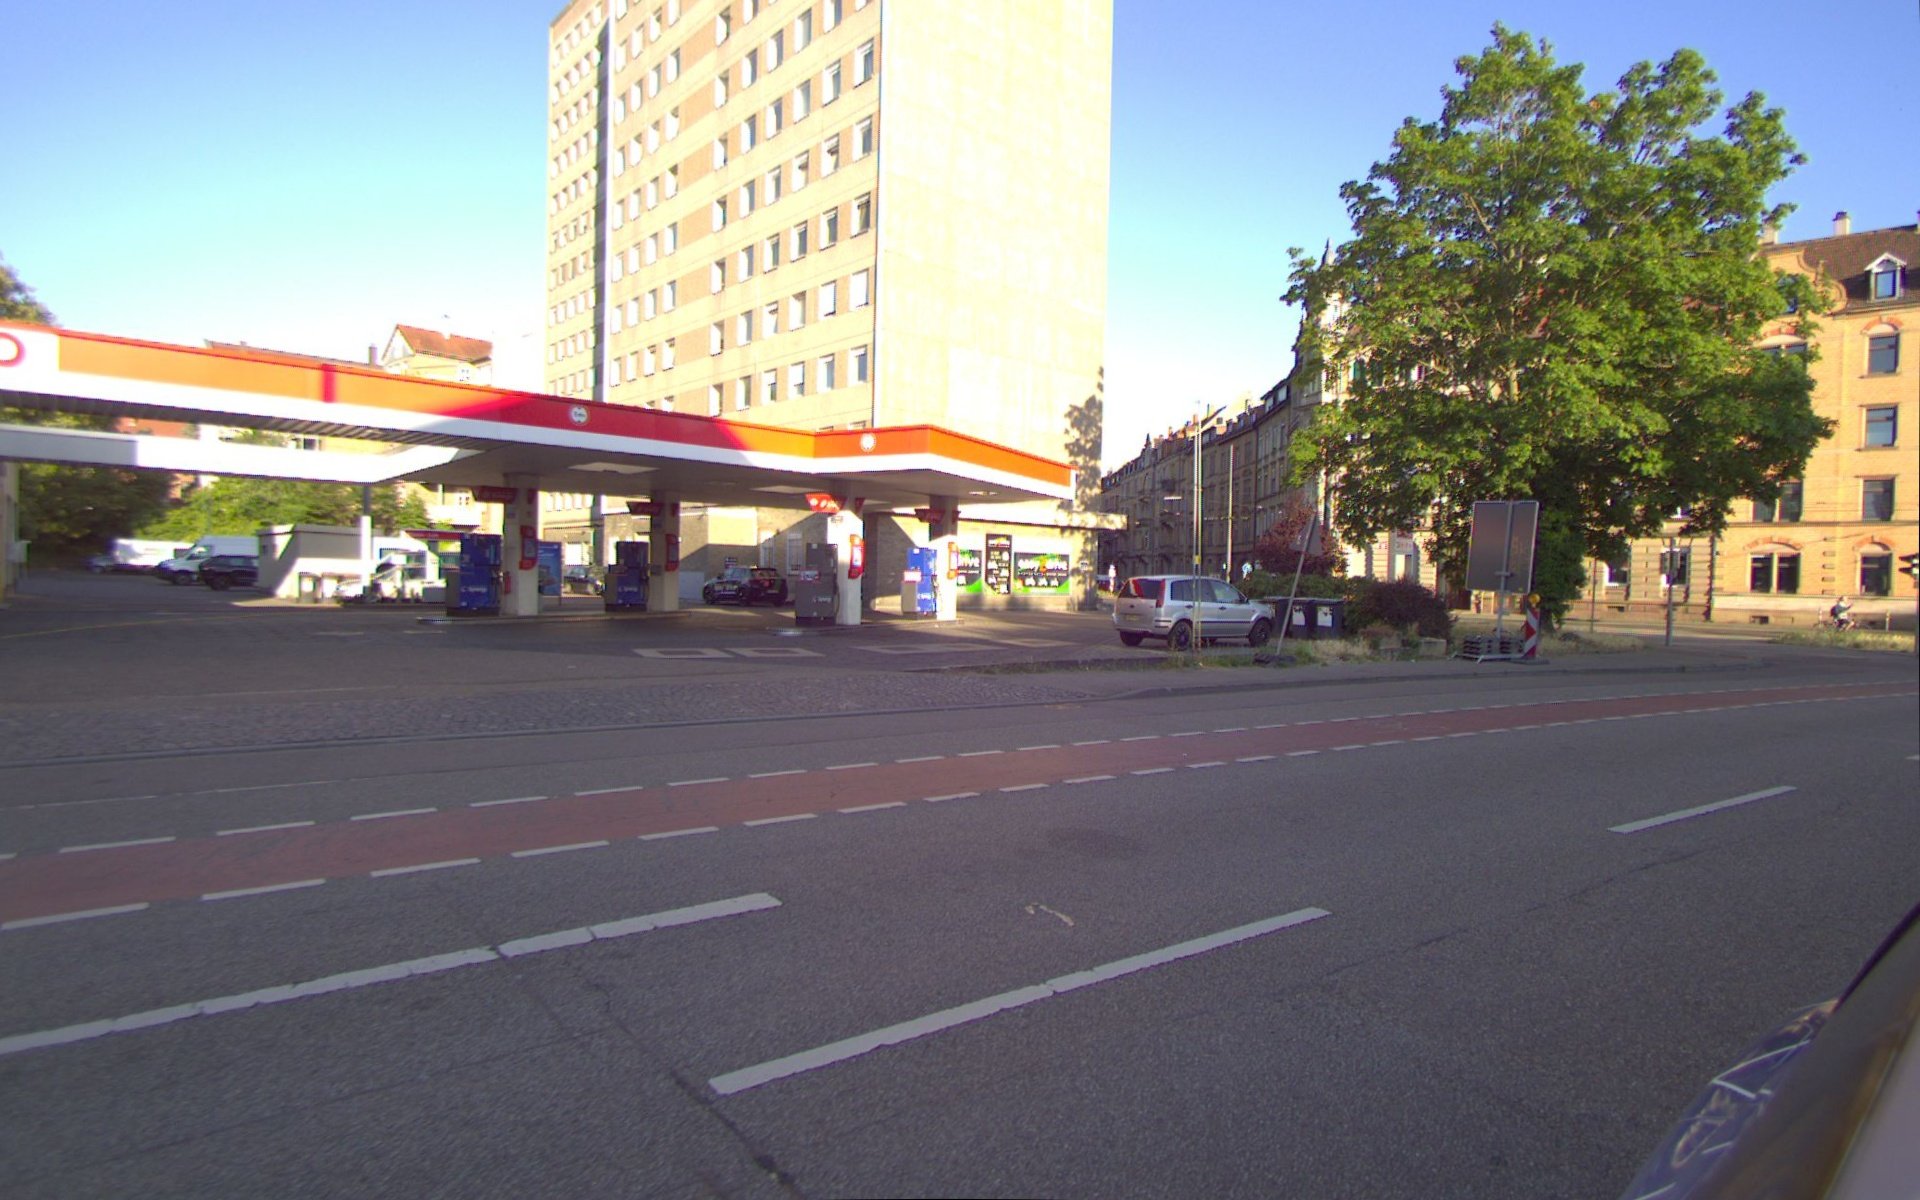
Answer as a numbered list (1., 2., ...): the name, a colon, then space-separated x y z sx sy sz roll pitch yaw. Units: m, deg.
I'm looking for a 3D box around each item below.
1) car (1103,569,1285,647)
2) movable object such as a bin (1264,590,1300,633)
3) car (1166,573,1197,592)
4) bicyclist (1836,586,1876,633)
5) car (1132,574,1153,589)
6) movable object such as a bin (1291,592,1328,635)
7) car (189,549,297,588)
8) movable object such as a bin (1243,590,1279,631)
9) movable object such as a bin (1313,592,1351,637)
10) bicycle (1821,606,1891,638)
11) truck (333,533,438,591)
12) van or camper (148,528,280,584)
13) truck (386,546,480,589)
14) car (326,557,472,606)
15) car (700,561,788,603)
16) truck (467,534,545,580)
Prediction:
1. car: 5.078 0.121 21.841 3.722 1.535 1.691 0 2 -33
2. movable object such as a bin: 8.048 0.277 25.303 0.674 1.031 0.544 0 1 -35
3. car: 21.168 -1.715 96.793 1.962 1.707 4.001 1 1 0
4. bicyclist: 33.474 0.342 37.795 1.062 1.669 0.721 2 1 44
5. car: 19.939 -2.016 110.847 1.647 1.565 3.119 0 0 -1
6. movable object such as a bin: 8.525 0.324 24.679 0.674 1.031 0.544 0 1 -35
7. car: -32.446 -1.384 45.855 3.832 1.630 1.683 0 0 -43
8. movable object such as a bin: 7.701 0.260 25.882 0.674 1.031 0.544 0 1 -35
9. movable object such as a bin: 8.824 0.343 23.987 0.674 1.031 0.544 0 1 -35
10. bicycle: 33.428 0.804 37.776 1.921 1.072 0.444 3 2 44
11. truck: -26.899 -1.754 47.444 3.931 2.591 1.997 0 2 -41
12. van or camper: -38.978 -2.252 52.979 2.201 2.722 5.261 2 2 43
13. truck: -23.443 -1.435 45.055 3.430 1.852 1.780 0 2 -41
14. car: -18.385 -0.607 33.233 3.928 1.482 1.999 0 2 -39
15. car: -8.416 -0.713 39.240 1.739 1.535 3.791 0 2 -41
16. truck: -32.265 -3.047 71.977 4.657 3.106 1.998 0 2 -39
